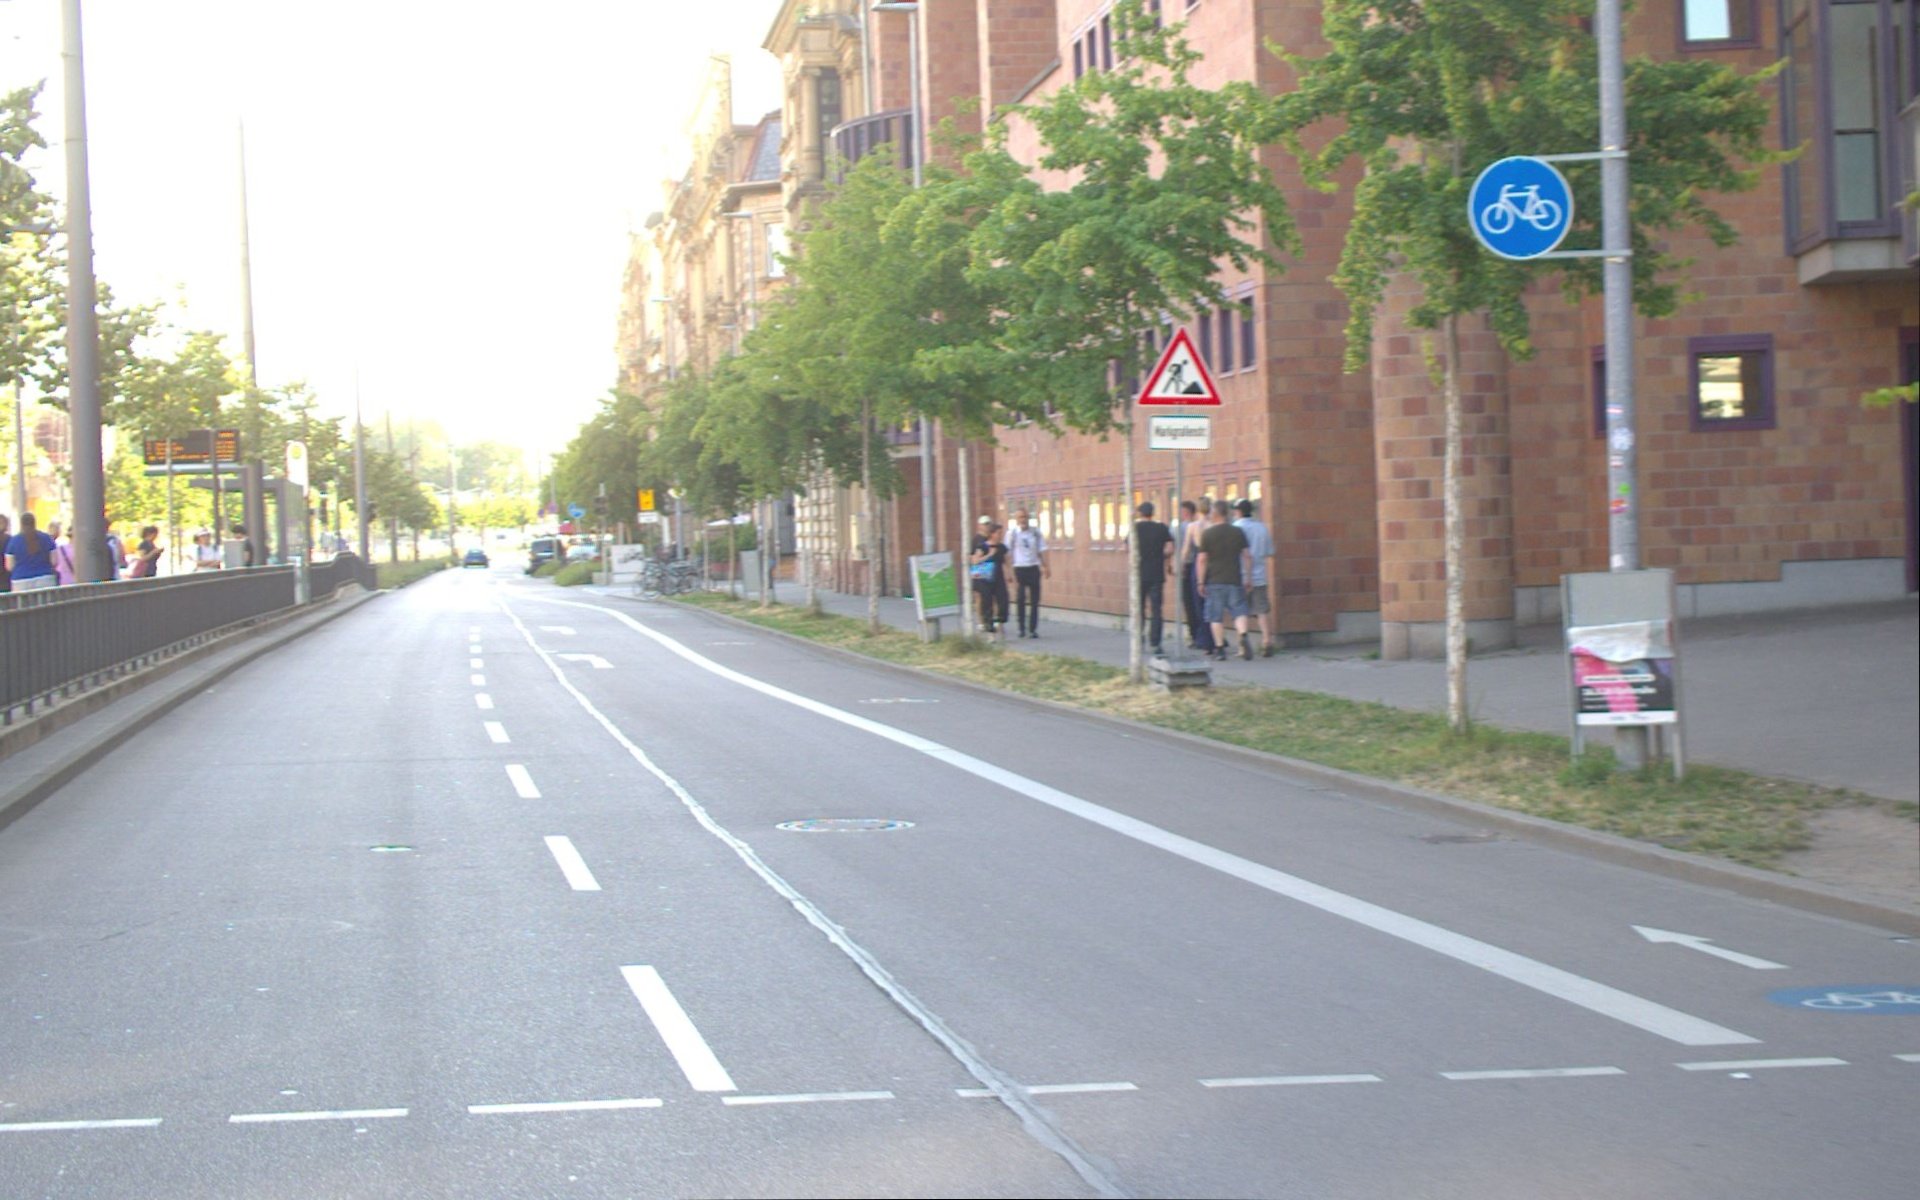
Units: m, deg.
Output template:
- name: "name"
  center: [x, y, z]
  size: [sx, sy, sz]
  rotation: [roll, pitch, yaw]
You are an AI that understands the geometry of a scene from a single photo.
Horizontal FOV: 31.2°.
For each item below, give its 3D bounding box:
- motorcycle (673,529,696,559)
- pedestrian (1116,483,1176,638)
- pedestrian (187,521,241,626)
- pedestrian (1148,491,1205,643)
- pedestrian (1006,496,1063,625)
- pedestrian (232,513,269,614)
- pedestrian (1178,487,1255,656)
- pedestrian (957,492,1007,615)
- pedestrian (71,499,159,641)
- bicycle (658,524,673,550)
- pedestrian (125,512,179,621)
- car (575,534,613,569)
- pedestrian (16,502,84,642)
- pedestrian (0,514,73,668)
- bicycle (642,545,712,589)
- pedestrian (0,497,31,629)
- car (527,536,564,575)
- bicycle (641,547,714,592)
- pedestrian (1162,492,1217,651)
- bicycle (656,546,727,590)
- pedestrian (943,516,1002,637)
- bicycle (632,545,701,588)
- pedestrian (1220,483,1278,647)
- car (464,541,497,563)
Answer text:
- name: "motorcycle"
  center: [-12.787, -2.612, 159.388]
  size: [0.794, 1.304, 2.853]
  rotation: [-4, 3, -8]
- name: "pedestrian"
  center: [2.125, -0.455, 39.350]
  size: [0.536, 1.750, 0.465]
  rotation: [-2, 1, -9]
- name: "pedestrian"
  center: [-11.333, -0.408, 52.250]
  size: [0.672, 1.556, 0.906]
  rotation: [-2, 1, -8]
- name: "pedestrian"
  center: [2.528, -0.386, 40.146]
  size: [0.536, 1.750, 0.422]
  rotation: [-2, 1, -7]
- name: "pedestrian"
  center: [1.003, -0.537, 46.616]
  size: [0.571, 1.707, 0.641]
  rotation: [-2, 1, -13]
- name: "pedestrian"
  center: [-11.958, -0.618, 57.945]
  size: [0.504, 1.673, 0.651]
  rotation: [-2, 1, -8]
- name: "pedestrian"
  center: [2.736, -0.309, 36.577]
  size: [0.732, 1.750, 0.695]
  rotation: [-2, 1, 6]
- name: "pedestrian"
  center: [0.314, -0.671, 49.720]
  size: [0.536, 1.750, 0.422]
  rotation: [-3, 1, -21]
- name: "pedestrian"
  center: [-10.228, -0.366, 41.659]
  size: [0.887, 1.666, 1.096]
  rotation: [-2, 1, -9]
- name: "bicycle"
  center: [-16.063, -3.436, 187.440]
  size: [0.661, 1.397, 2.353]
  rotation: [-2, 2, -8]
- name: "pedestrian"
  center: [-13.021, -0.543, 55.421]
  size: [0.719, 1.726, 0.651]
  rotation: [-2, 1, -8]
- name: "car"
  center: [-17.471, -2.325, 164.119]
  size: [1.637, 1.481, 4.213]
  rotation: [-4, 3, -5]
- name: "pedestrian"
  center: [-11.044, -0.341, 41.736]
  size: [0.656, 1.666, 0.672]
  rotation: [-2, 1, -9]
- name: "pedestrian"
  center: [-10.362, -0.107, 38.150]
  size: [0.887, 1.666, 0.672]
  rotation: [-2, 1, -9]
- name: "bicycle"
  center: [-8.006, -0.935, 97.216]
  size: [1.825, 1.061, 0.664]
  rotation: [-5, 3, -12]
- name: "pedestrian"
  center: [-10.958, -0.417, 38.936]
  size: [0.682, 1.478, 0.829]
  rotation: [-2, 1, -8]
- name: "car"
  center: [-21.716, -2.349, 180.237]
  size: [1.885, 1.930, 4.474]
  rotation: [-1, 2, -6]
- name: "bicycle"
  center: [-7.763, -0.833, 94.468]
  size: [1.825, 1.061, 0.664]
  rotation: [-5, 3, -12]
- name: "pedestrian"
  center: [2.566, -0.325, 38.403]
  size: [0.536, 1.750, 0.695]
  rotation: [-2, 1, 3]
- name: "bicycle"
  center: [-7.495, -0.900, 95.885]
  size: [1.825, 1.061, 0.664]
  rotation: [-5, 3, -12]
- name: "pedestrian"
  center: [0.165, -0.318, 46.079]
  size: [0.516, 1.600, 0.705]
  rotation: [-3, 1, -21]
- name: "bicycle"
  center: [-8.424, -0.976, 98.648]
  size: [1.825, 1.061, 0.664]
  rotation: [-5, 3, -12]
- name: "pedestrian"
  center: [3.133, -0.384, 37.272]
  size: [0.536, 1.750, 0.695]
  rotation: [-2, 1, 3]
- name: "car"
  center: [-33.968, -3.429, 243.514]
  size: [1.797, 1.459, 4.000]
  rotation: [-2, 1, -1]
